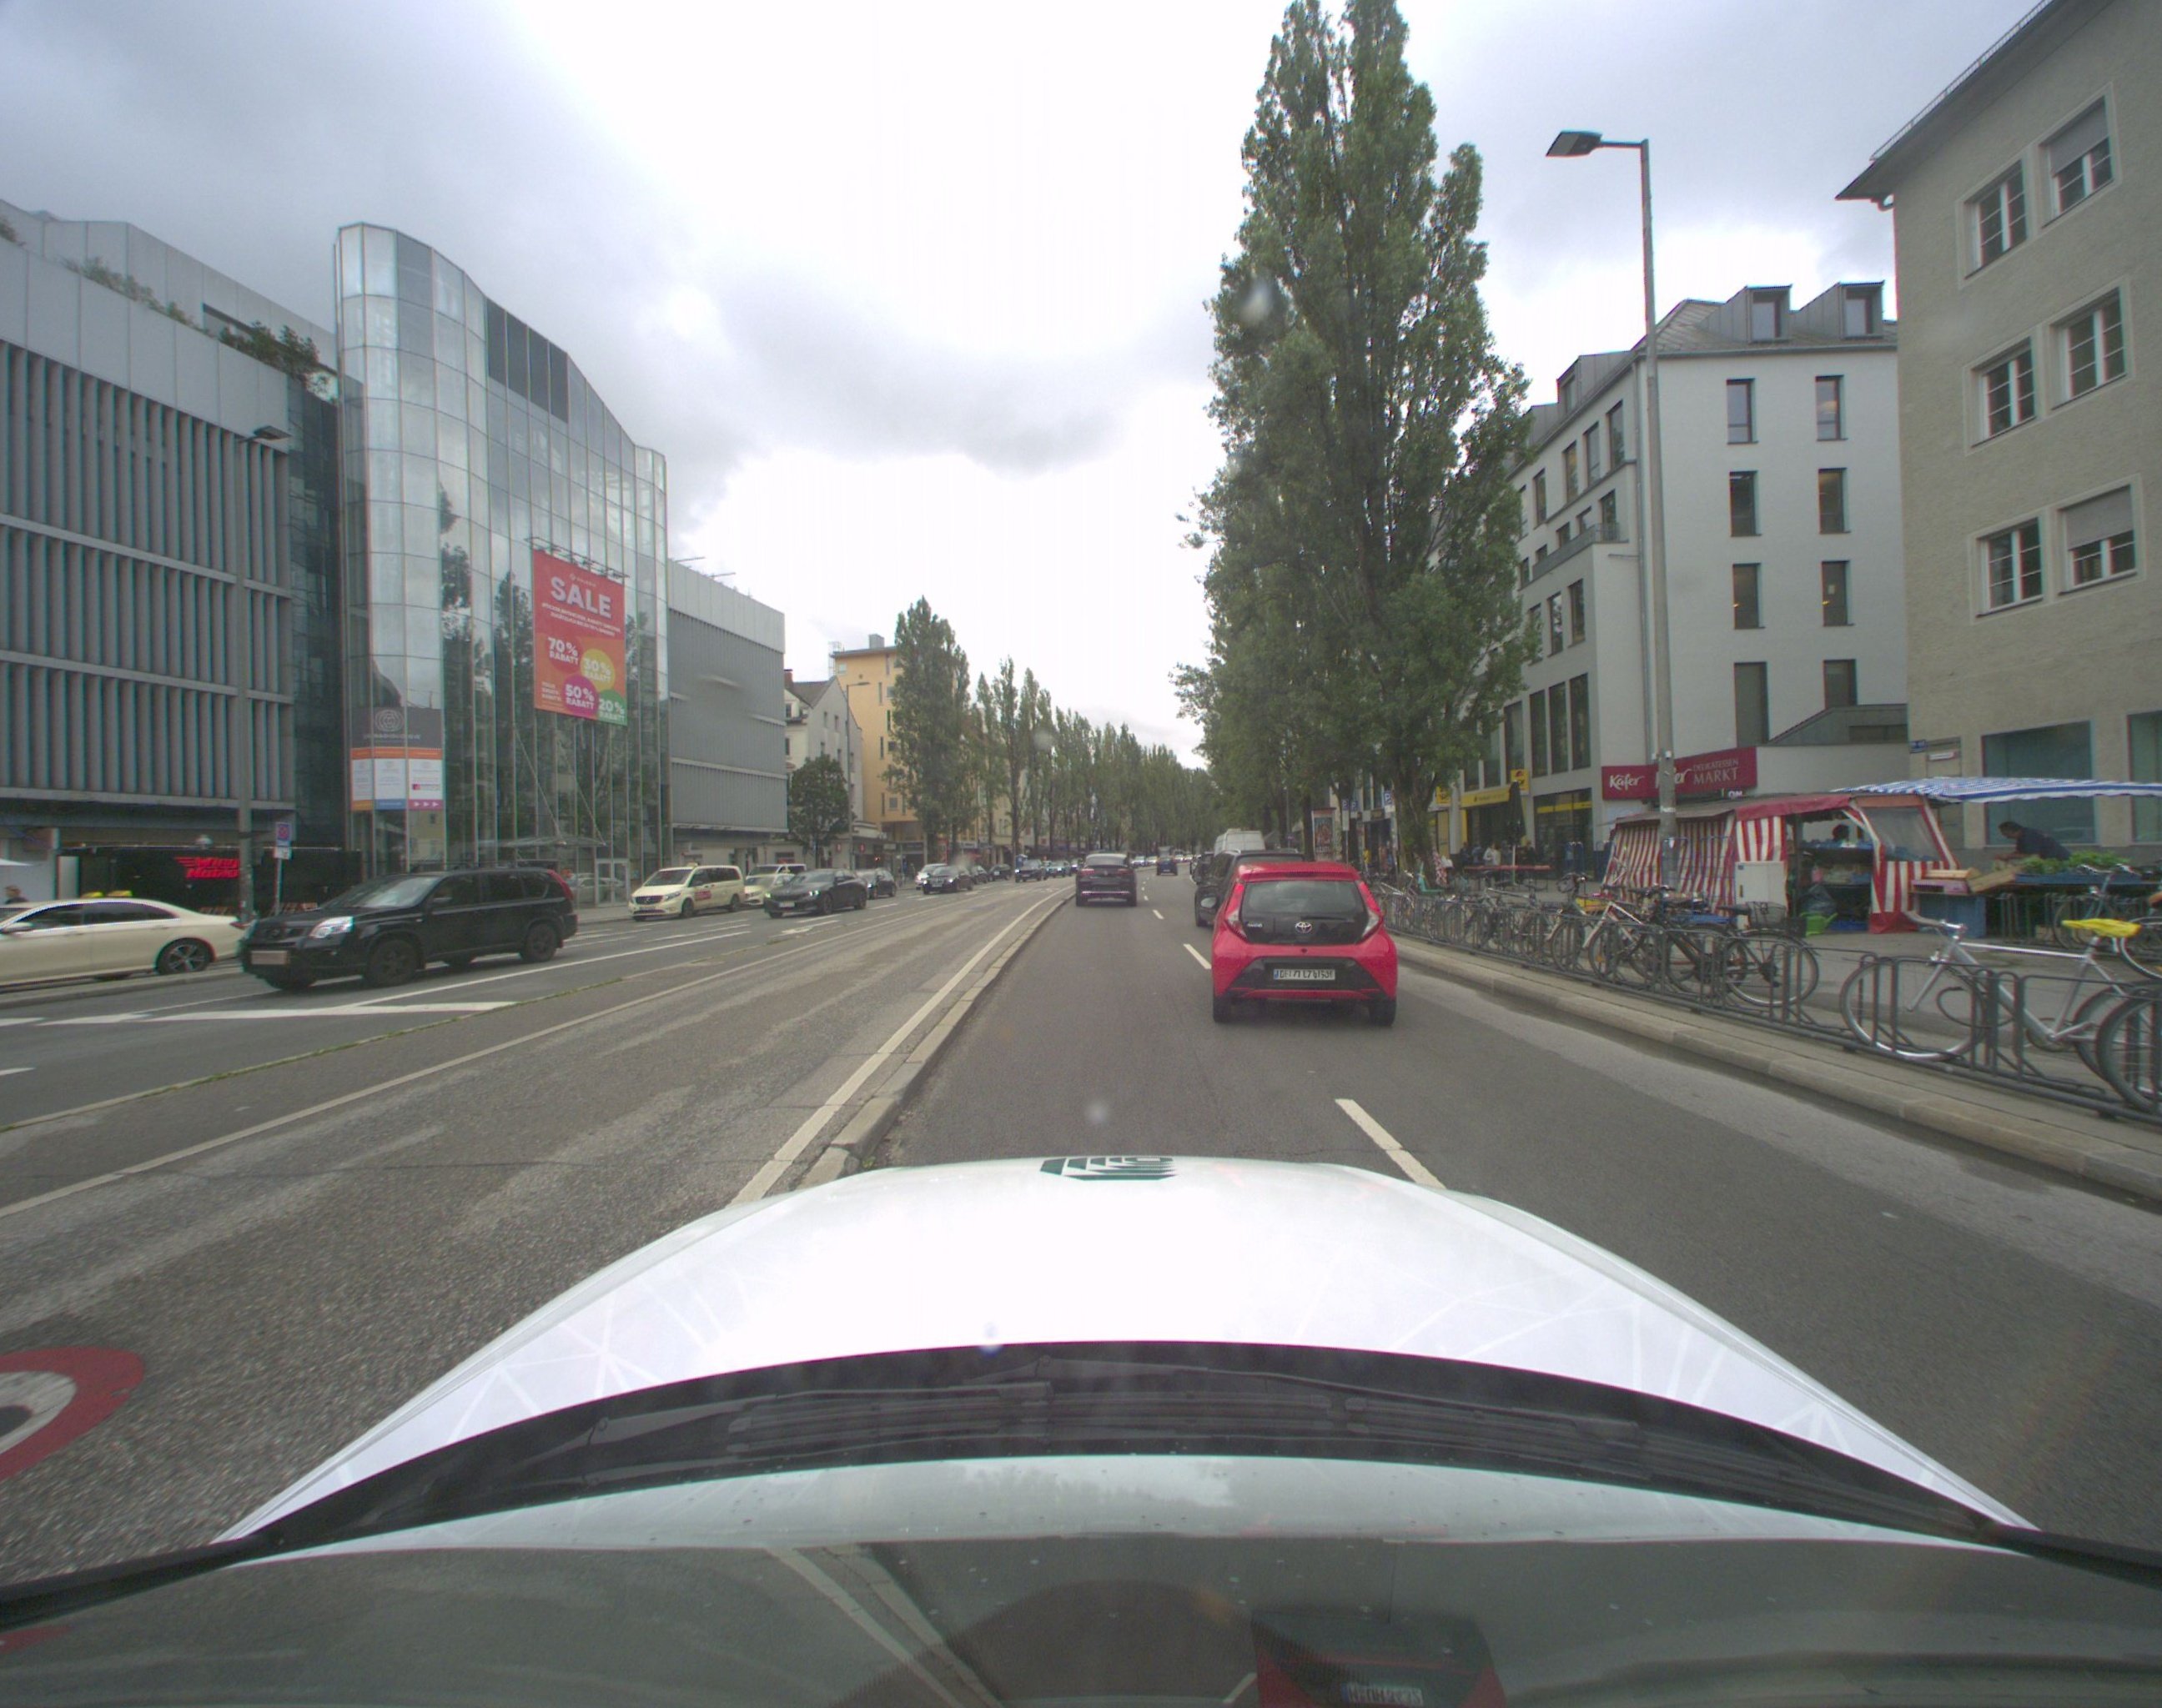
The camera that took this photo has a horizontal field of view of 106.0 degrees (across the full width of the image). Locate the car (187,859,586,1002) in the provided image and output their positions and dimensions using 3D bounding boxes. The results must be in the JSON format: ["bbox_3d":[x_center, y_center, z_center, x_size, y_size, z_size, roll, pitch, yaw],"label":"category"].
[{"bbox_3d":[-10.518,1.027,12.954,1.982,1.777,4.609,-2,0,8],"label":"car"}]

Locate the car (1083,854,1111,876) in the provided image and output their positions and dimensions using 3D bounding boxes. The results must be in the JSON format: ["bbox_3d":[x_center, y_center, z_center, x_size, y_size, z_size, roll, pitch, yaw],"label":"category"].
[{"bbox_3d":[2.047,1.324,102.952,2.155,2.605,6.086,-2,0,13],"label":"car"}]

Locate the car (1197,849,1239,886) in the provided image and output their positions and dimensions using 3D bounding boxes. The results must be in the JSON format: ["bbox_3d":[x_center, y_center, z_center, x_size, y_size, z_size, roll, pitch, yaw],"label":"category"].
[{"bbox_3d":[7.126,0.681,42.795,1.919,1.805,4.788,0,0,6],"label":"car"}]

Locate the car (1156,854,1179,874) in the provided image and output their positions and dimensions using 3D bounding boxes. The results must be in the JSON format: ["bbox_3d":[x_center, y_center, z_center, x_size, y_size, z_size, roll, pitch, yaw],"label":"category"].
[{"bbox_3d":[7.165,0.829,67.385,1.749,1.619,3.755,-1,-1,8],"label":"car"}]

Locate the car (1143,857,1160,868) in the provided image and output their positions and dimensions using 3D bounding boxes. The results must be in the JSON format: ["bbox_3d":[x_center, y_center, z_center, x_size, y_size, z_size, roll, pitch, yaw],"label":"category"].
[{"bbox_3d":[11.117,1.340,127.854,1.980,1.589,5.212,-4,-1,12],"label":"car"}]

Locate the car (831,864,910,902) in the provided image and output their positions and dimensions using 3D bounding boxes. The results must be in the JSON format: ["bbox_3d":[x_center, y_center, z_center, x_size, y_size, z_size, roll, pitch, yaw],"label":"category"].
[{"bbox_3d":[-10.108,1.356,39.567,1.949,1.546,4.957,-3,0,7],"label":"car"}]

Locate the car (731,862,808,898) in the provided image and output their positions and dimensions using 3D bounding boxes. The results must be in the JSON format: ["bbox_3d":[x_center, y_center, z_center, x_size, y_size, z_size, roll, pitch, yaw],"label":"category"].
[{"bbox_3d":[-19.052,1.548,50.162,1.981,2.013,5.127,-2,0,10],"label":"car"}]

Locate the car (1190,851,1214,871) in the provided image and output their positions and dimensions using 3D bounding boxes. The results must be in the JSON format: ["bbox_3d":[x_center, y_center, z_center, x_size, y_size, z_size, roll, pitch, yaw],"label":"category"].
[{"bbox_3d":[10.527,0.639,70.757,1.913,1.700,4.663,-1,-1,10],"label":"car"}]

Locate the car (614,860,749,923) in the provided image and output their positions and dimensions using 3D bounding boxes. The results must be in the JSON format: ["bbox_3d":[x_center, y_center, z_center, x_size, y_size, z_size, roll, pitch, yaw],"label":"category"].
[{"bbox_3d":[-14.596,1.289,30.202,1.984,2.013,5.328,-3,-1,4],"label":"car"}]

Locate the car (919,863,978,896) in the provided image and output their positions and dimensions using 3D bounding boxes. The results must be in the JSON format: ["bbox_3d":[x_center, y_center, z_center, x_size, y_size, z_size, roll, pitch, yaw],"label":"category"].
[{"bbox_3d":[-6.852,1.287,42.629,1.826,1.487,4.743,-2,0,6],"label":"car"}]

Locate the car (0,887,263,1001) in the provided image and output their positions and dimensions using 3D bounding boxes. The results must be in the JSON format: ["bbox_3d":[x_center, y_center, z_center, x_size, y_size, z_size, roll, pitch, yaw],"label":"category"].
[{"bbox_3d":[-16.760,1.425,13.044,1.933,1.540,4.862,-2,0,11],"label":"car"}]

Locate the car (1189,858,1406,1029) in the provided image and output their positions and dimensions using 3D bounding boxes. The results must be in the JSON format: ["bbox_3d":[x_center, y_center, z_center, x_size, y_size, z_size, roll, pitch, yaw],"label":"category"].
[{"bbox_3d":[2.081,0.789,8.768,1.657,1.446,3.601,0,-1,5],"label":"car"}]

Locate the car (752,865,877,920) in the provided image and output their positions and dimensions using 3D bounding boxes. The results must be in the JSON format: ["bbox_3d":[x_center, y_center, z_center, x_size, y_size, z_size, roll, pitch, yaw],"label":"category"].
[{"bbox_3d":[-8.725,1.208,27.229,1.983,1.507,5.030,-2,0,6],"label":"car"}]

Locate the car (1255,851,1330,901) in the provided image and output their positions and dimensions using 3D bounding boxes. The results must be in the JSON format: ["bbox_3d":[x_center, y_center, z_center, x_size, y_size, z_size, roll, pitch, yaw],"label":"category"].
[{"bbox_3d":[6.661,0.660,26.053,1.716,1.454,4.154,0,0,6],"label":"car"}]

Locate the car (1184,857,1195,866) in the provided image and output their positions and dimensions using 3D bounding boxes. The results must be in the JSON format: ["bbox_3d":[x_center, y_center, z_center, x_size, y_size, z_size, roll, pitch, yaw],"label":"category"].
[{"bbox_3d":[23.187,1.613,173.791,1.926,1.642,4.480,-3,0,14],"label":"car"}]

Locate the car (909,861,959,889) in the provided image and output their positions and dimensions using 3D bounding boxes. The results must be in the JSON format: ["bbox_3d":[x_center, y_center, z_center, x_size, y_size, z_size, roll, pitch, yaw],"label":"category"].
[{"bbox_3d":[-9.216,1.284,51.407,1.984,1.600,4.295,-2,0,5],"label":"car"}]

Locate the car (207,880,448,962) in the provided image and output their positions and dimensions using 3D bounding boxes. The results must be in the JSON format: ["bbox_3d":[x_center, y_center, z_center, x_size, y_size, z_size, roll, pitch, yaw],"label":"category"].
[{"bbox_3d":[-18.174,1.551,19.930,1.760,1.616,4.013,-2,-1,12],"label":"car"}]

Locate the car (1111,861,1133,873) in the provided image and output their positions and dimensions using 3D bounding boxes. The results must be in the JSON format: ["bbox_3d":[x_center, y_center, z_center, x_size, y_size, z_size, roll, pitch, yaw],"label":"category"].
[{"bbox_3d":[5.259,1.654,103.525,1.786,1.394,4.708,-2,0,14],"label":"car"}]

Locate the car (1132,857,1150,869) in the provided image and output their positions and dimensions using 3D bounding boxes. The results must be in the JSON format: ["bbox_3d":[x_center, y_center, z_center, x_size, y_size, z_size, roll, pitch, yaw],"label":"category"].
[{"bbox_3d":[8.675,1.332,117.568,1.896,1.603,4.371,-2,0,13],"label":"car"}]

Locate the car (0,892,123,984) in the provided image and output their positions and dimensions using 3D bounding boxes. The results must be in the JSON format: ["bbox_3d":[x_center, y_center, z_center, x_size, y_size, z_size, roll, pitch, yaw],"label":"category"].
[{"bbox_3d":[-19.729,1.530,13.891,1.741,1.536,4.011,-2,0,10],"label":"car"}]

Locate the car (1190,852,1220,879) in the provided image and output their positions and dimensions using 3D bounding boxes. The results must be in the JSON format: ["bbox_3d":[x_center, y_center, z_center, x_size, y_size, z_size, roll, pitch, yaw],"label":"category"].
[{"bbox_3d":[8.279,0.758,54.701,1.719,1.686,4.415,-1,0,5],"label":"car"}]

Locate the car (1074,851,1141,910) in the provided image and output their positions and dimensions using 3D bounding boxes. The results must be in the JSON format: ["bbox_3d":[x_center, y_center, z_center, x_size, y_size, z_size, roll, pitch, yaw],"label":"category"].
[{"bbox_3d":[0.865,0.774,25.954,1.873,1.642,4.585,-2,0,2],"label":"car"}]

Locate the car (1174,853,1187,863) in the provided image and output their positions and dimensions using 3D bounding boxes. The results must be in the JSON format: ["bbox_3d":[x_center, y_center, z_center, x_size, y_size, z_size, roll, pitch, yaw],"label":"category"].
[{"bbox_3d":[19.314,0.785,158.277,1.847,1.711,4.553,-3,0,14],"label":"car"}]

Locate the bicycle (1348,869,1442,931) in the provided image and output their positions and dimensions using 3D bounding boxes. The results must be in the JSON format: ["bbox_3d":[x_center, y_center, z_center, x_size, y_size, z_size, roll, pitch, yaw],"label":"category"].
[{"bbox_3d":[5.965,0.846,15.512,1.556,1.054,0.550,3,1,39],"label":"bicycle"}]

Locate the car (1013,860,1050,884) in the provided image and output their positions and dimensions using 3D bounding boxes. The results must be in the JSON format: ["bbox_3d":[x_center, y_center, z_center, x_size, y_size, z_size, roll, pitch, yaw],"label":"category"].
[{"bbox_3d":[-3.600,1.294,59.934,1.984,1.621,4.419,-3,0,5],"label":"car"}]

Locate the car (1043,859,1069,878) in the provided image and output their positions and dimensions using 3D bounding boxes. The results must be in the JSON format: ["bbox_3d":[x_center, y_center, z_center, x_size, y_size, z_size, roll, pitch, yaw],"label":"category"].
[{"bbox_3d":[-2.245,1.311,74.374,1.809,1.545,4.005,-4,0,5],"label":"car"}]

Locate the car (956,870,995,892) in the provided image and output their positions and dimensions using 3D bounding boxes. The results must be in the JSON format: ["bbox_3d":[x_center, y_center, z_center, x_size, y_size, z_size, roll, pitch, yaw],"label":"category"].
[{"bbox_3d":[-7.751,1.938,60.381,1.720,1.409,4.696,-2,0,6],"label":"car"}]

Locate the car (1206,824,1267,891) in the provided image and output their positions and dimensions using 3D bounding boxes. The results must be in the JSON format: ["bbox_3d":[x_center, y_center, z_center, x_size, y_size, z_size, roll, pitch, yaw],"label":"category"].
[{"bbox_3d":[6.864,0.183,36.502,1.985,2.742,5.559,0,-1,3],"label":"car"}]

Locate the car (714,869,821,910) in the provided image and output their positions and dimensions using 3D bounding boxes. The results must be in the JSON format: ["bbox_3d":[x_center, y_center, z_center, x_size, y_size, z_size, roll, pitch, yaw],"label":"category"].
[{"bbox_3d":[-13.735,1.518,36.063,1.965,1.552,5.100,-2,0,10],"label":"car"}]

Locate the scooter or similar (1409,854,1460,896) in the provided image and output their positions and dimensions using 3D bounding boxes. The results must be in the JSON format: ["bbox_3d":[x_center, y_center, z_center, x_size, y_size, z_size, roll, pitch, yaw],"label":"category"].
[{"bbox_3d":[10.858,0.637,25.019,1.468,1.207,0.398,-2,-1,-17],"label":"scooter or similar"}]

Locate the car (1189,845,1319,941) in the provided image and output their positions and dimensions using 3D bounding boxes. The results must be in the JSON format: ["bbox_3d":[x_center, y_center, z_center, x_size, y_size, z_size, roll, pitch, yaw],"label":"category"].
[{"bbox_3d":[3.238,0.676,16.018,1.754,1.614,4.185,-1,0,1],"label":"car"}]

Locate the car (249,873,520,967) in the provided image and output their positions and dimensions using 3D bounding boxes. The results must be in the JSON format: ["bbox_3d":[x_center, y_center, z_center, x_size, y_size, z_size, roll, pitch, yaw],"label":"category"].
[{"bbox_3d":[-15.637,1.393,18.652,1.872,1.698,4.398,-3,-1,12],"label":"car"}]

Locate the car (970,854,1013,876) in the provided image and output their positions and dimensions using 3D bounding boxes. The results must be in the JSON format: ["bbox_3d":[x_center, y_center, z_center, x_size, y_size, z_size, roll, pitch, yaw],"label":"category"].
[{"bbox_3d":[-7.667,0.939,70.028,1.740,1.816,4.023,-1,-1,26],"label":"car"}]
